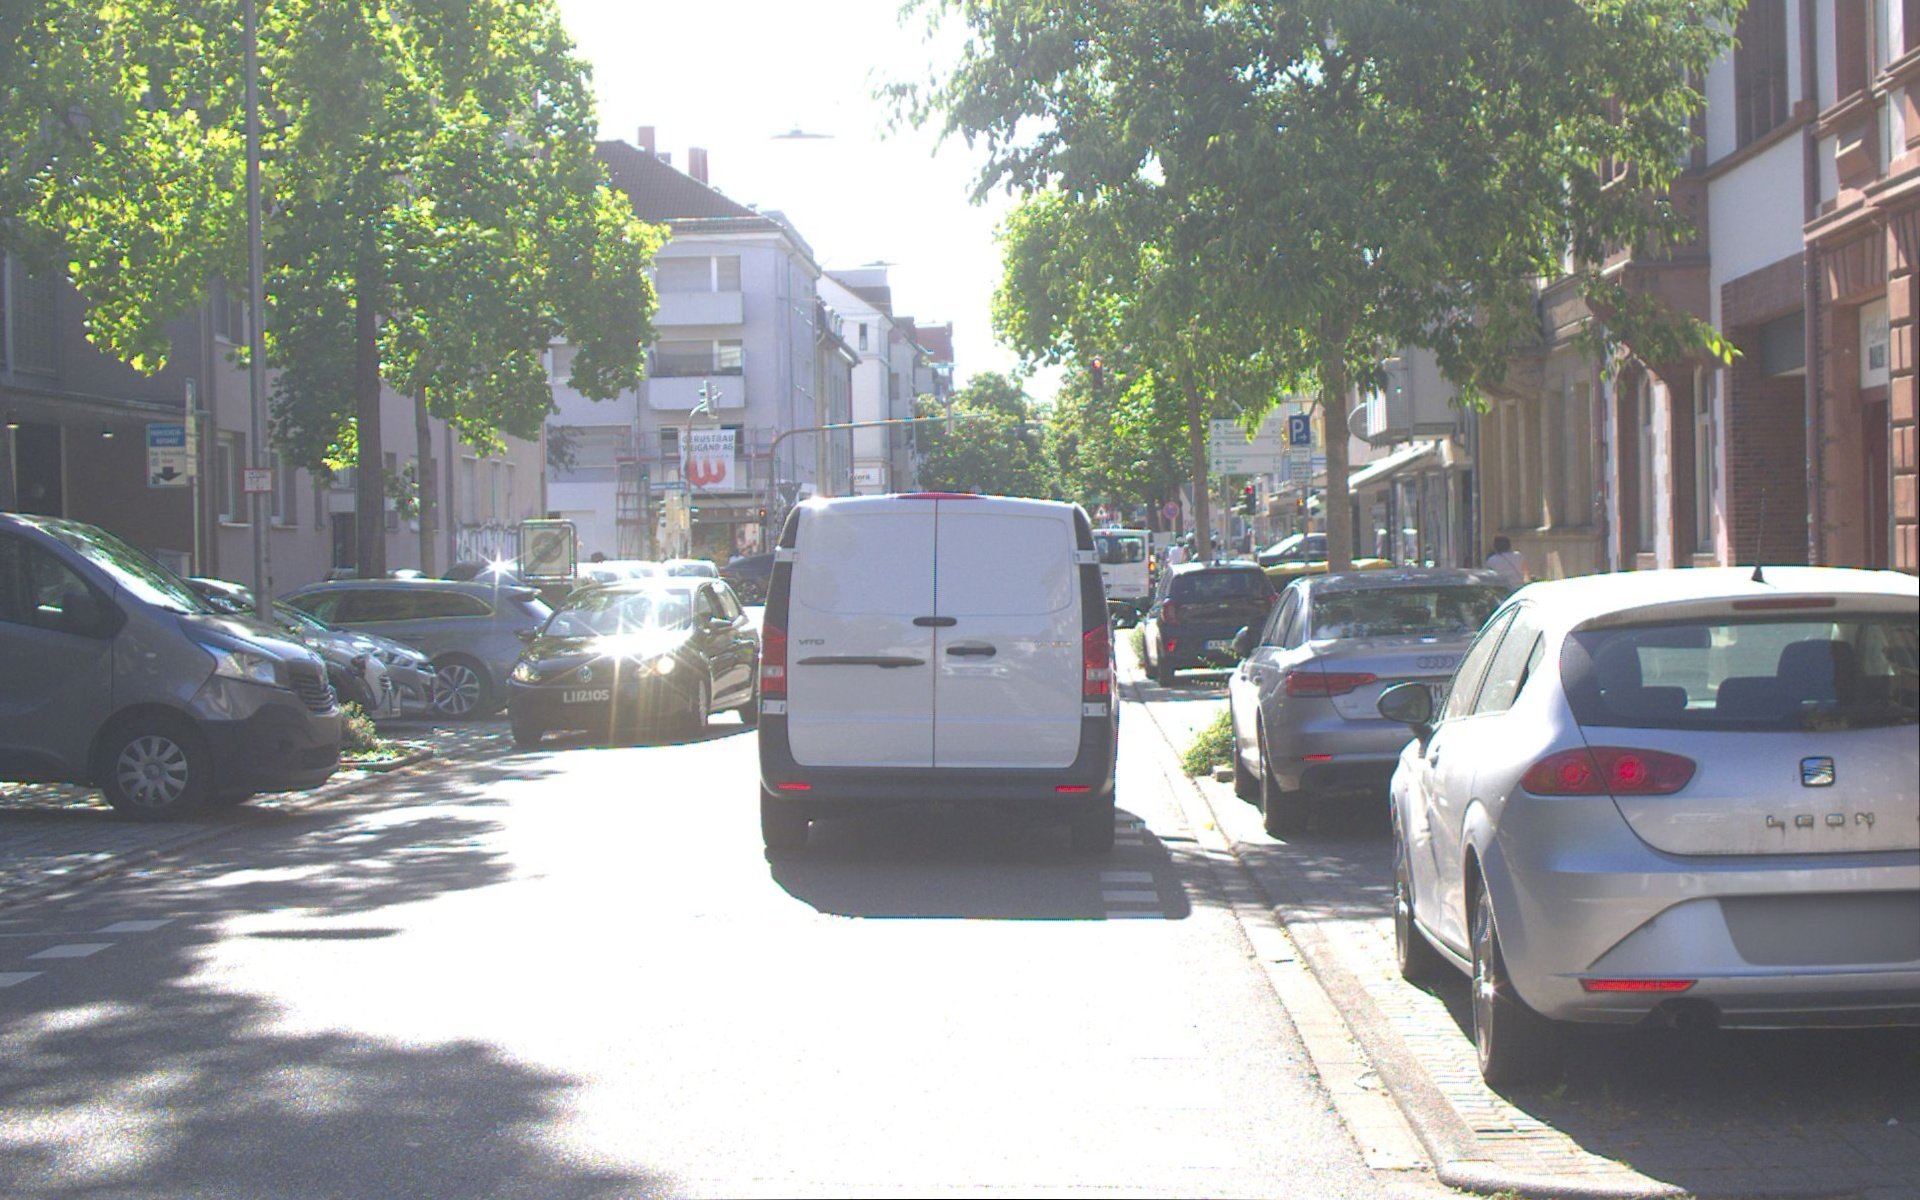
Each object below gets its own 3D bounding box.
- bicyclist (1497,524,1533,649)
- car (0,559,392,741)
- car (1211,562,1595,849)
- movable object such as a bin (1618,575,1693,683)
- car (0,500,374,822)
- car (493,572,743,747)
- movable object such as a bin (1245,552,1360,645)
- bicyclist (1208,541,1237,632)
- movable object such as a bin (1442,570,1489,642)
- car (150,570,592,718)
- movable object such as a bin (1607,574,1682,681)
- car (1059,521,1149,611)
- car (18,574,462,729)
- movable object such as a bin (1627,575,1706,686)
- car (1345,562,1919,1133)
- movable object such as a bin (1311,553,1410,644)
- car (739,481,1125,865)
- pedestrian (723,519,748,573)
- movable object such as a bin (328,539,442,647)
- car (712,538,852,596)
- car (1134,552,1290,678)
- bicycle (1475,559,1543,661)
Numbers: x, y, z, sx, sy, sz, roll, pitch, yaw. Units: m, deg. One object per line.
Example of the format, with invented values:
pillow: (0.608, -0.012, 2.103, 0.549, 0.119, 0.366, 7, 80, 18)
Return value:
bicyclist: (6.593, -0.161, 40.850, 0.361, 1.472, 0.530, 0, 1, 3)
car: (-6.849, 0.414, 30.426, 3.597, 1.547, 1.685, 0, 1, -9)
car: (2.484, 0.532, 20.193, 1.738, 1.446, 4.307, -1, 1, 1)
movable object such as a bin: (6.958, 0.287, 34.422, 0.638, 1.065, 0.521, -1, 1, 1)
car: (-6.617, 0.342, 22.204, 5.292, 1.967, 2.015, 0, 1, 2)
car: (-3.097, 0.501, 31.828, 1.763, 1.433, 3.960, -2, 1, 2)
movable object such as a bin: (5.082, -0.024, 51.029, 1.268, 1.343, 1.108, -2, 1, -40)
bicyclist: (4.340, -0.225, 56.764, 0.439, 1.503, 0.497, 0, 1, 1)
movable object such as a bin: (7.477, 0.088, 50.871, 0.598, 1.039, 0.546, -1, 1, 1)
car: (-6.178, 0.441, 36.320, 4.305, 1.455, 1.762, 1, 1, 4)
movable object such as a bin: (6.963, 0.277, 35.008, 0.638, 1.065, 0.632, -1, 1, 1)
car: (3.194, -0.775, 76.893, 1.816, 1.914, 4.644, -1, 1, 0)
car: (-6.985, 0.485, 33.653, 3.987, 1.458, 1.813, 0, 1, -1)
movable object such as a bin: (6.954, 0.293, 33.852, 0.638, 1.065, 0.639, -1, 1, 1)
car: (2.312, 0.631, 11.027, 1.738, 1.446, 4.000, -1, 1, 1)
movable object such as a bin: (6.080, -0.029, 52.144, 1.040, 1.343, 1.106, 0, 1, 41)
car: (-0.169, 0.313, 19.618, 1.920, 1.907, 4.888, 0, 1, -1)
pedestrian: (-7.029, -1.691, 107.654, 0.683, 1.658, 0.601, -1, 1, 0)
movable object such as a bin: (-7.872, -0.101, 47.148, 1.231, 1.445, 1.075, -1, 1, 10)
car: (-5.123, -0.966, 99.597, 3.986, 1.634, 2.000, -1, 1, -2)
car: (3.117, 0.156, 43.068, 1.635, 1.471, 3.580, -2, 1, 0)
bicycle: (6.517, 0.110, 40.855, 0.536, 1.145, 2.124, -4, 0, 4)
